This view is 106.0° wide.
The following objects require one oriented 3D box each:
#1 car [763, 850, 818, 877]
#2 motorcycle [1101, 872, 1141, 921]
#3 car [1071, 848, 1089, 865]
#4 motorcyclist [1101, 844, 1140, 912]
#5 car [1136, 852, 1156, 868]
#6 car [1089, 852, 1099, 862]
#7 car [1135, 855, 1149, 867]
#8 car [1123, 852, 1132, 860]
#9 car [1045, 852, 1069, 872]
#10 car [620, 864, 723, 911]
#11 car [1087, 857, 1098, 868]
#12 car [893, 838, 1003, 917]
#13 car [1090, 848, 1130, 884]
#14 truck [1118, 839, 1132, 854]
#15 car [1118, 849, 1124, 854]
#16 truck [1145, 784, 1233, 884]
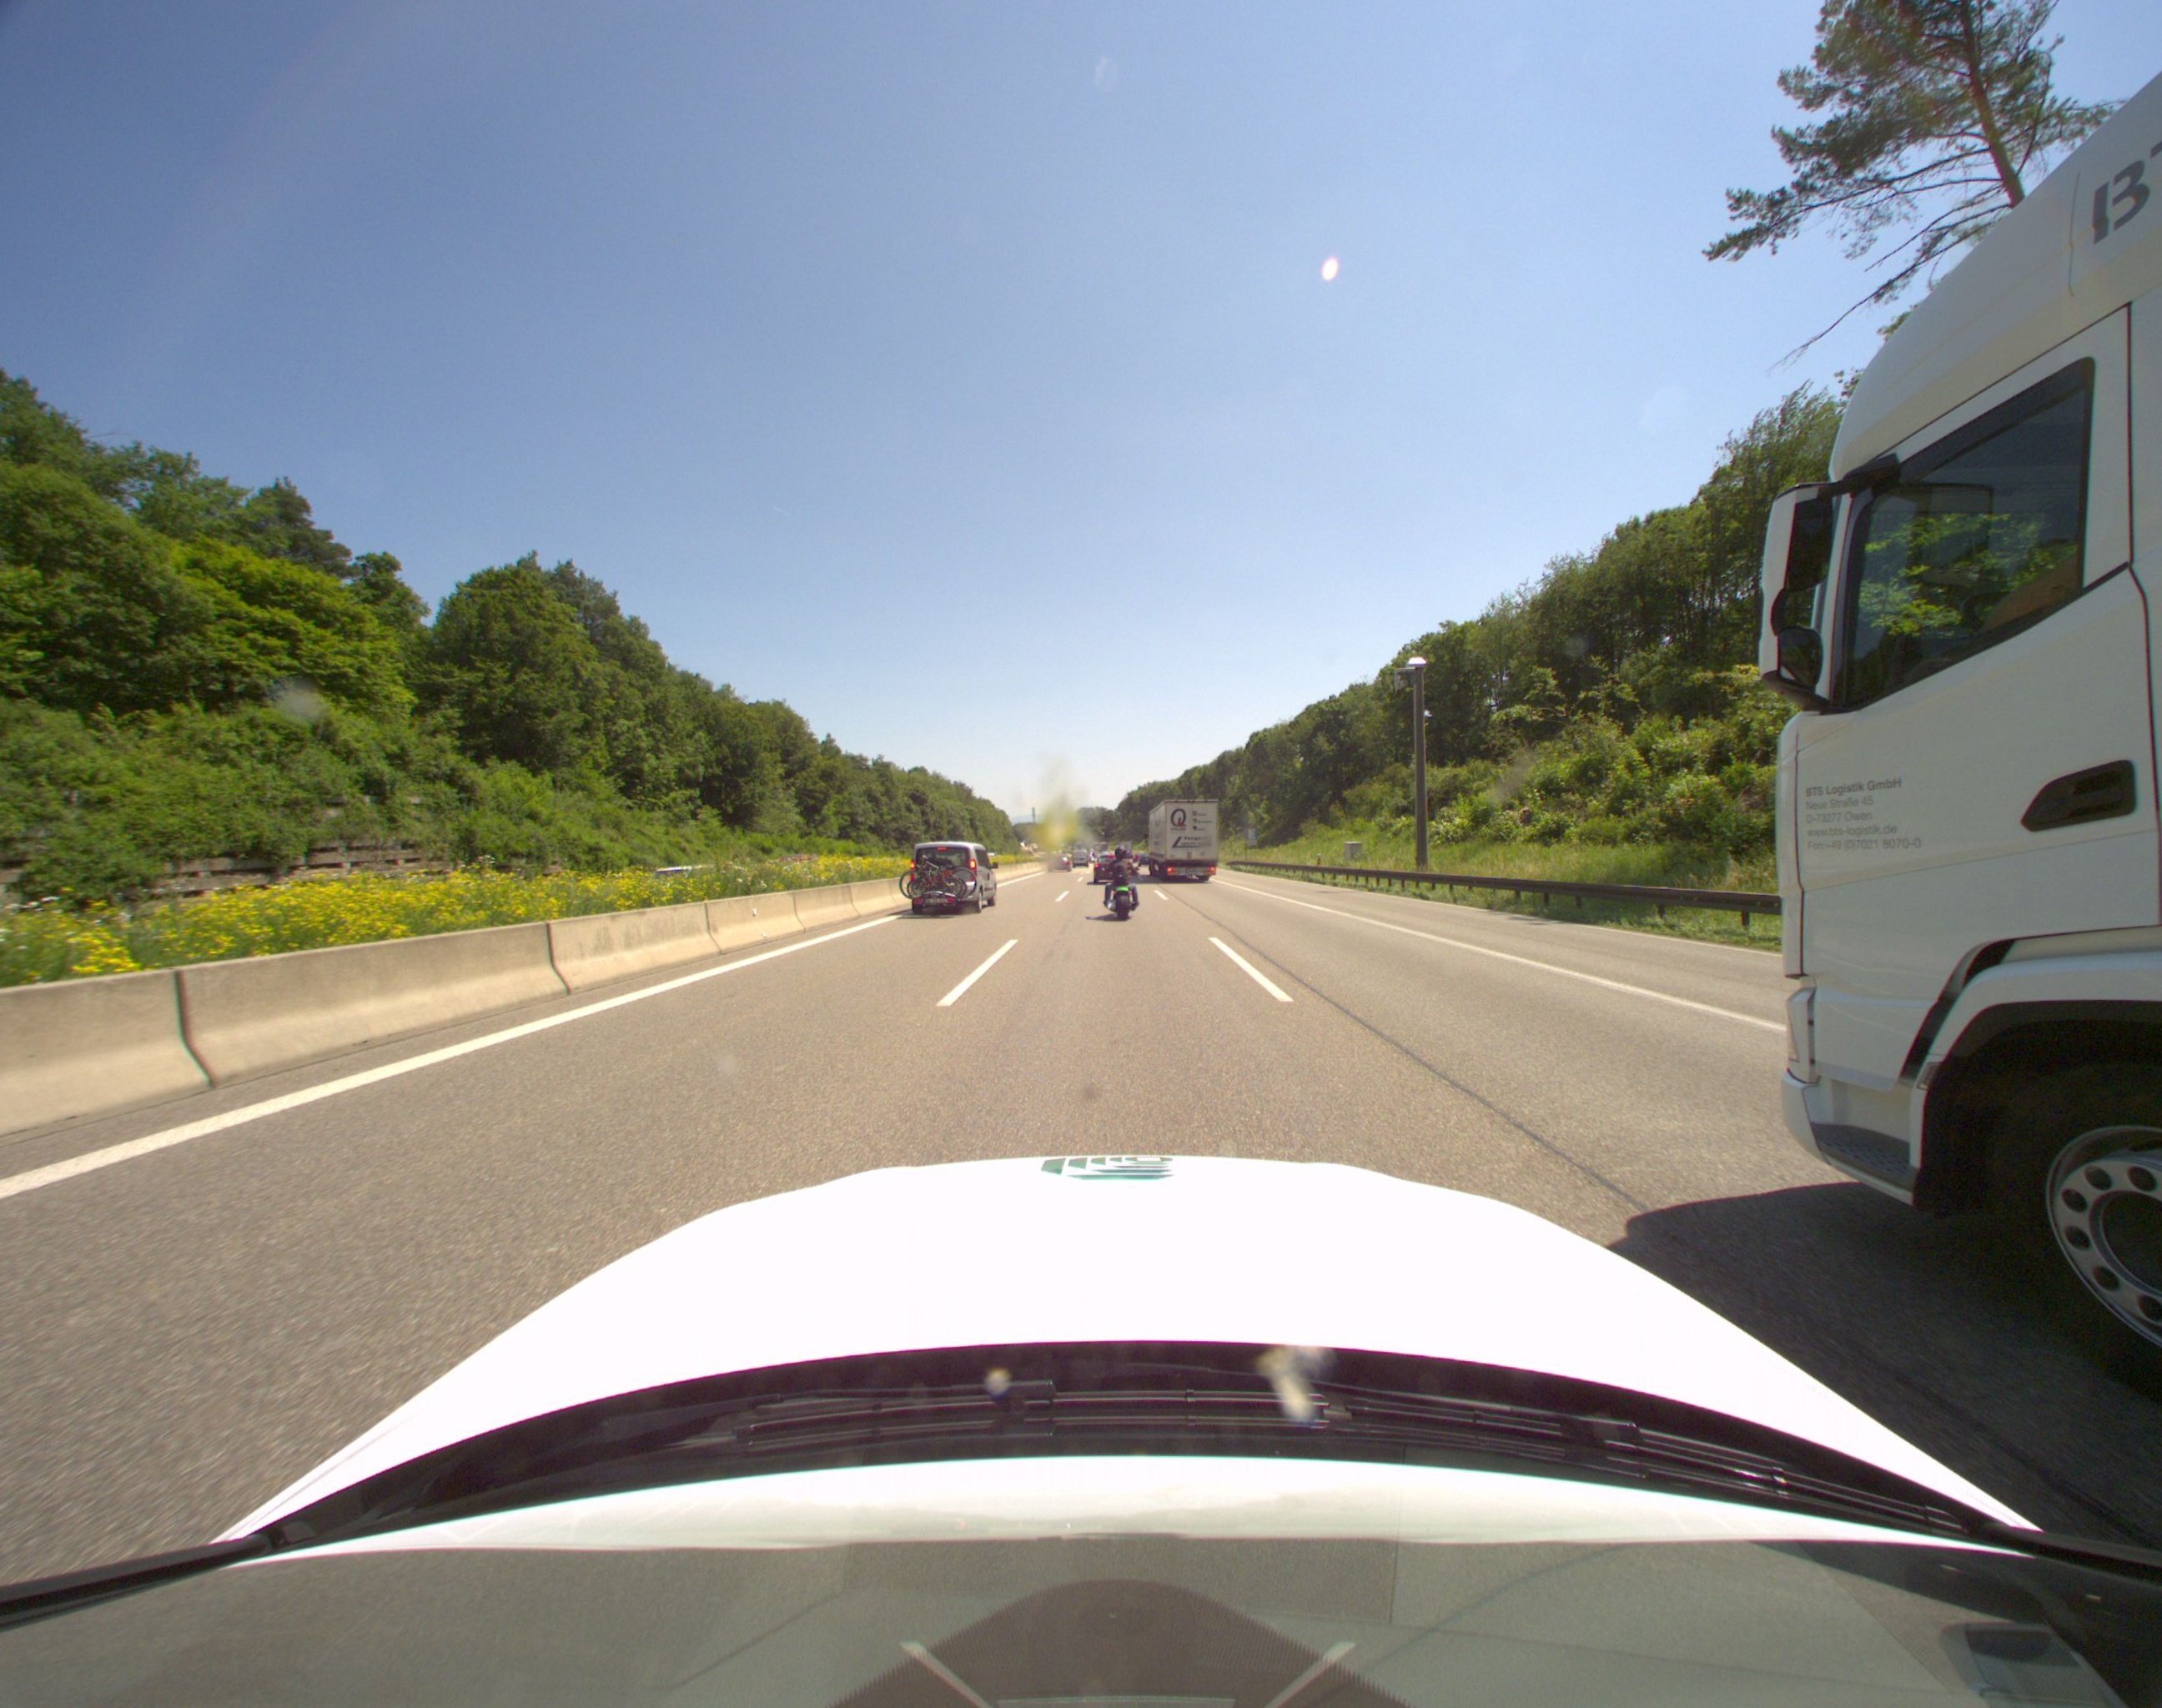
[{"bbox_3d":[-20.298,0.629,57.156,1.985,1.807,4.658,0,-1,3],"label":"car"},{"bbox_3d":[0.922,0.947,18.863,0.859,0.982,2.132,-1,0,3],"label":"motorcycle"},{"bbox_3d":[-0.073,0.249,89.433,1.824,1.810,4.122,-1,1,1],"label":"car"},{"bbox_3d":[0.905,0.536,18.710,0.852,1.515,0.914,-1,0,2],"label":"motorcyclist"},{"bbox_3d":[6.784,0.573,85.165,1.824,1.558,4.122,-1,1,1],"label":"car"},{"bbox_3d":[2.633,0.639,164.868,1.824,1.810,4.122,-1,1,1],"label":"car"},{"bbox_3d":[8.605,0.940,114.810,1.824,1.558,4.122,-1,1,1],"label":"car"},{"bbox_3d":[9.264,0.421,162.475,1.824,1.558,4.122,-1,1,1],"label":"car"},{"bbox_3d":[-1.960,0.634,67.330,1.751,1.543,4.397,-1,1,1],"label":"car"},{"bbox_3d":[-17.026,1.344,34.140,1.803,1.807,4.505,0,-1,3],"label":"car"},{"bbox_3d":[1.977,1.514,142.945,1.824,1.810,4.122,-1,1,1],"label":"car"},{"bbox_3d":[-3.400,0.544,21.899,1.891,1.848,5.485,-1,0,1],"label":"car"},{"bbox_3d":[1.432,0.553,40.308,1.838,1.557,4.441,-1,1,1],"label":"car"},{"bbox_3d":[9.834,-1.805,183.418,3.056,3.346,9.657,0,1,2],"label":"truck"},{"bbox_3d":[11.700,-0.760,238.849,1.824,1.558,4.122,-1,1,1],"label":"car"},{"bbox_3d":[5.839,-1.127,47.571,3.370,4.717,17.718,0,1,2],"label":"truck"}]
